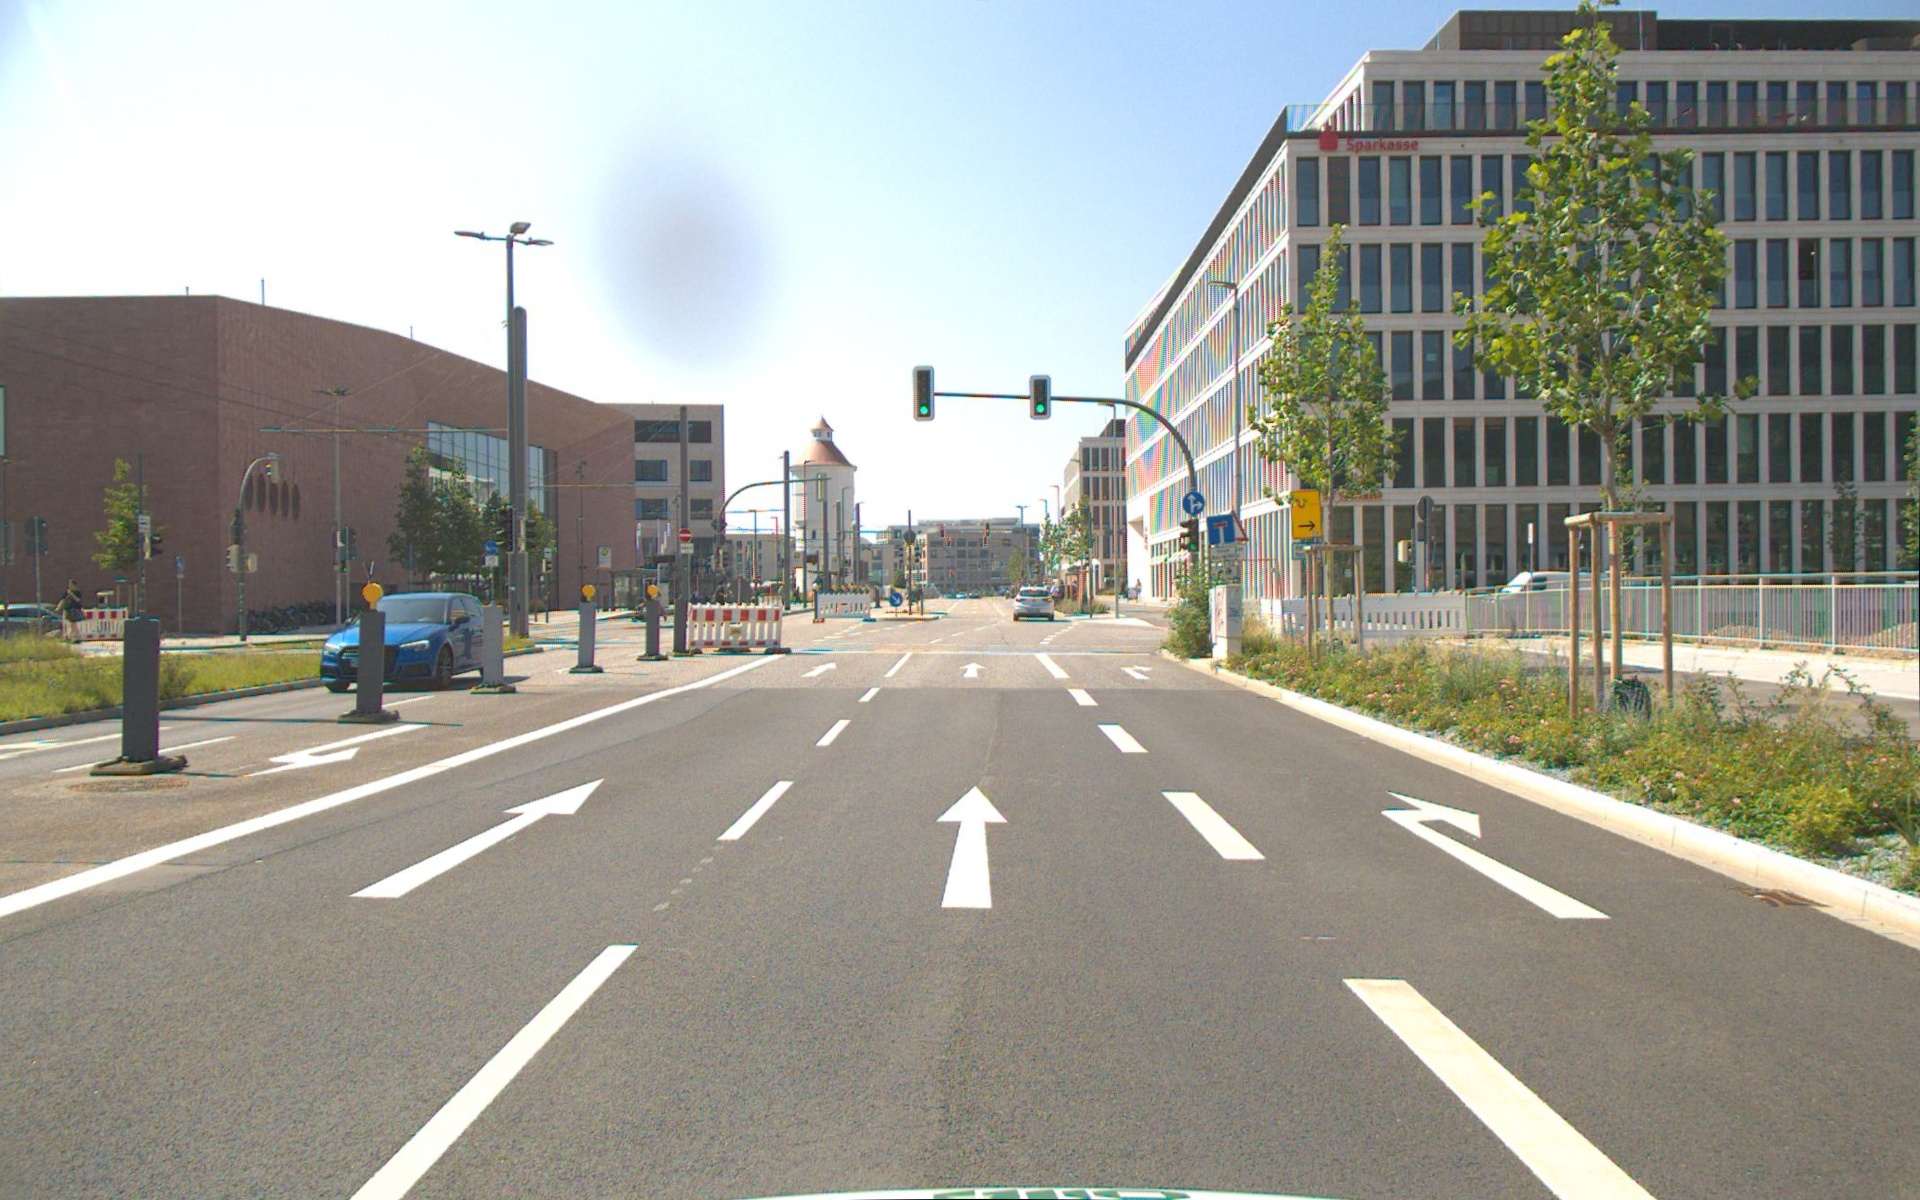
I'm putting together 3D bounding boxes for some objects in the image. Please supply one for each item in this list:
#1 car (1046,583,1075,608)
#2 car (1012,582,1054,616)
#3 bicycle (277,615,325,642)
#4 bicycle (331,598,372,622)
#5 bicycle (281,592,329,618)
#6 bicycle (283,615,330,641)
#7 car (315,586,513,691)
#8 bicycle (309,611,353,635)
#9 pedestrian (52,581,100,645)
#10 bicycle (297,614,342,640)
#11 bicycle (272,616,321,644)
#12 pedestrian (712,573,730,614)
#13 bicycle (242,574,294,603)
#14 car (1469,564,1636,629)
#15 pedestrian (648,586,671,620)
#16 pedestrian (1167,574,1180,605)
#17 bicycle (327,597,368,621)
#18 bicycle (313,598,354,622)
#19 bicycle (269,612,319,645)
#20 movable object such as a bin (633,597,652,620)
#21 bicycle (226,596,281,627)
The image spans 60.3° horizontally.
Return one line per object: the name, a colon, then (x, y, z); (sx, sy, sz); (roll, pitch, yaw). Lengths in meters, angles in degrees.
car: (6.296, -0.287, 103.174); (1.700, 1.500, 3.982); (0, 0, 5)
car: (3.163, -0.025, 71.782); (1.734, 1.419, 3.532); (1, -1, 2)
bicycle: (-30.676, 1.316, 77.028); (2.014, 1.233, 0.538); (0, 1, -10)
bicycle: (-32.833, 0.535, 89.217); (2.014, 1.233, 0.538); (0, 1, -10)
bicycle: (-31.121, 0.221, 78.617); (2.014, 1.233, 0.538); (0, 0, -10)
bicycle: (-31.468, 1.357, 79.629); (2.014, 1.233, 0.538); (0, 1, -10)
car: (-8.396, 0.541, 25.831); (1.594, 1.452, 4.290); (-2, 0, 0)
bicycle: (-32.244, 1.172, 84.819); (2.014, 1.233, 0.538); (0, 1, -10)
pedestrian: (-26.310, 0.374, 49.254); (0.794, 1.879, 1.107); (0, 0, 3)
bicycle: (-31.763, 1.323, 82.063); (2.014, 1.233, 0.538); (0, 1, -10)
bicycle: (-30.595, 1.372, 76.292); (2.014, 1.233, 0.538); (0, 1, -10)
pedestrian: (-11.049, -0.313, 76.481); (0.639, 1.865, 0.661); (0, 1, 5)
bicycle: (-30.242, -0.500, 72.255); (2.015, 1.233, 0.538); (0, 1, -12)
car: (23.084, -0.149, 64.557); (5.716, 2.310, 2.147); (2, 0, 1)
pedestrian: (-14.253, 0.133, 78.498); (0.918, 1.590, 0.787); (0, 1, -25)
pedestrian: (12.070, -0.599, 93.316); (0.615, 1.772, 0.814); (-1, 0, 1)
bicycle: (-32.892, 0.469, 88.803); (2.014, 1.233, 0.538); (0, 1, -10)
bicycle: (-32.397, 0.498, 85.583); (1.847, 1.233, 0.746); (0, 0, -6)
bicycle: (-29.911, 1.272, 74.270); (2.014, 1.478, 0.538); (0, 1, -10)
movable object such as a bin: (-15.001, 0.392, 78.153); (0.704, 1.050, 0.787); (0, 1, -25)
bicycle: (-29.702, 0.470, 69.583); (2.014, 1.233, 0.538); (2, 0, -10)
